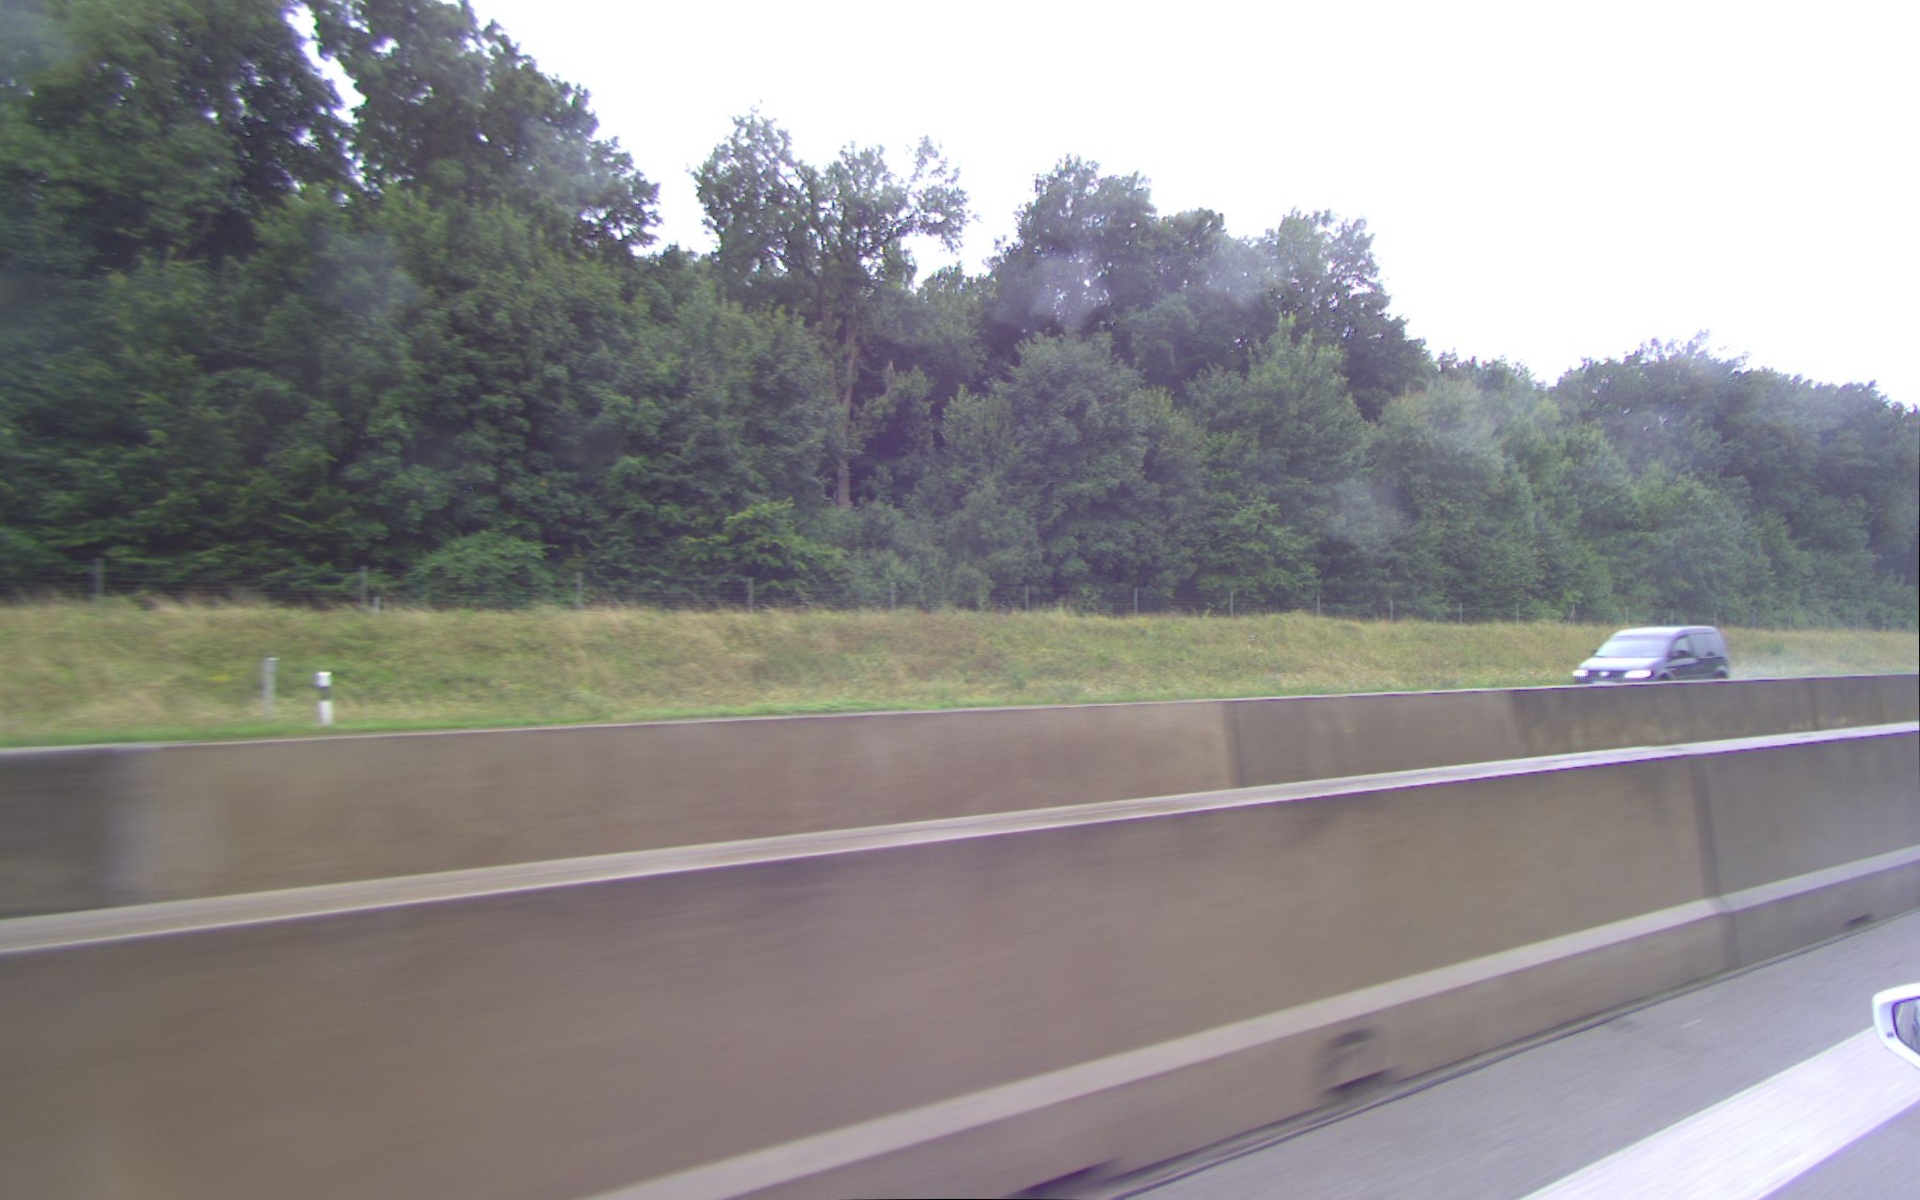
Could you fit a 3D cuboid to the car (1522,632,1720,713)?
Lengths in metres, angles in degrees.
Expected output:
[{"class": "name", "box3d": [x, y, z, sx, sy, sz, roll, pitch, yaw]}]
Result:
[{"class": "car", "box3d": [15.142, 1.619, 22.957, 4.631, 1.687, 1.871, 2, -3, -29]}]
